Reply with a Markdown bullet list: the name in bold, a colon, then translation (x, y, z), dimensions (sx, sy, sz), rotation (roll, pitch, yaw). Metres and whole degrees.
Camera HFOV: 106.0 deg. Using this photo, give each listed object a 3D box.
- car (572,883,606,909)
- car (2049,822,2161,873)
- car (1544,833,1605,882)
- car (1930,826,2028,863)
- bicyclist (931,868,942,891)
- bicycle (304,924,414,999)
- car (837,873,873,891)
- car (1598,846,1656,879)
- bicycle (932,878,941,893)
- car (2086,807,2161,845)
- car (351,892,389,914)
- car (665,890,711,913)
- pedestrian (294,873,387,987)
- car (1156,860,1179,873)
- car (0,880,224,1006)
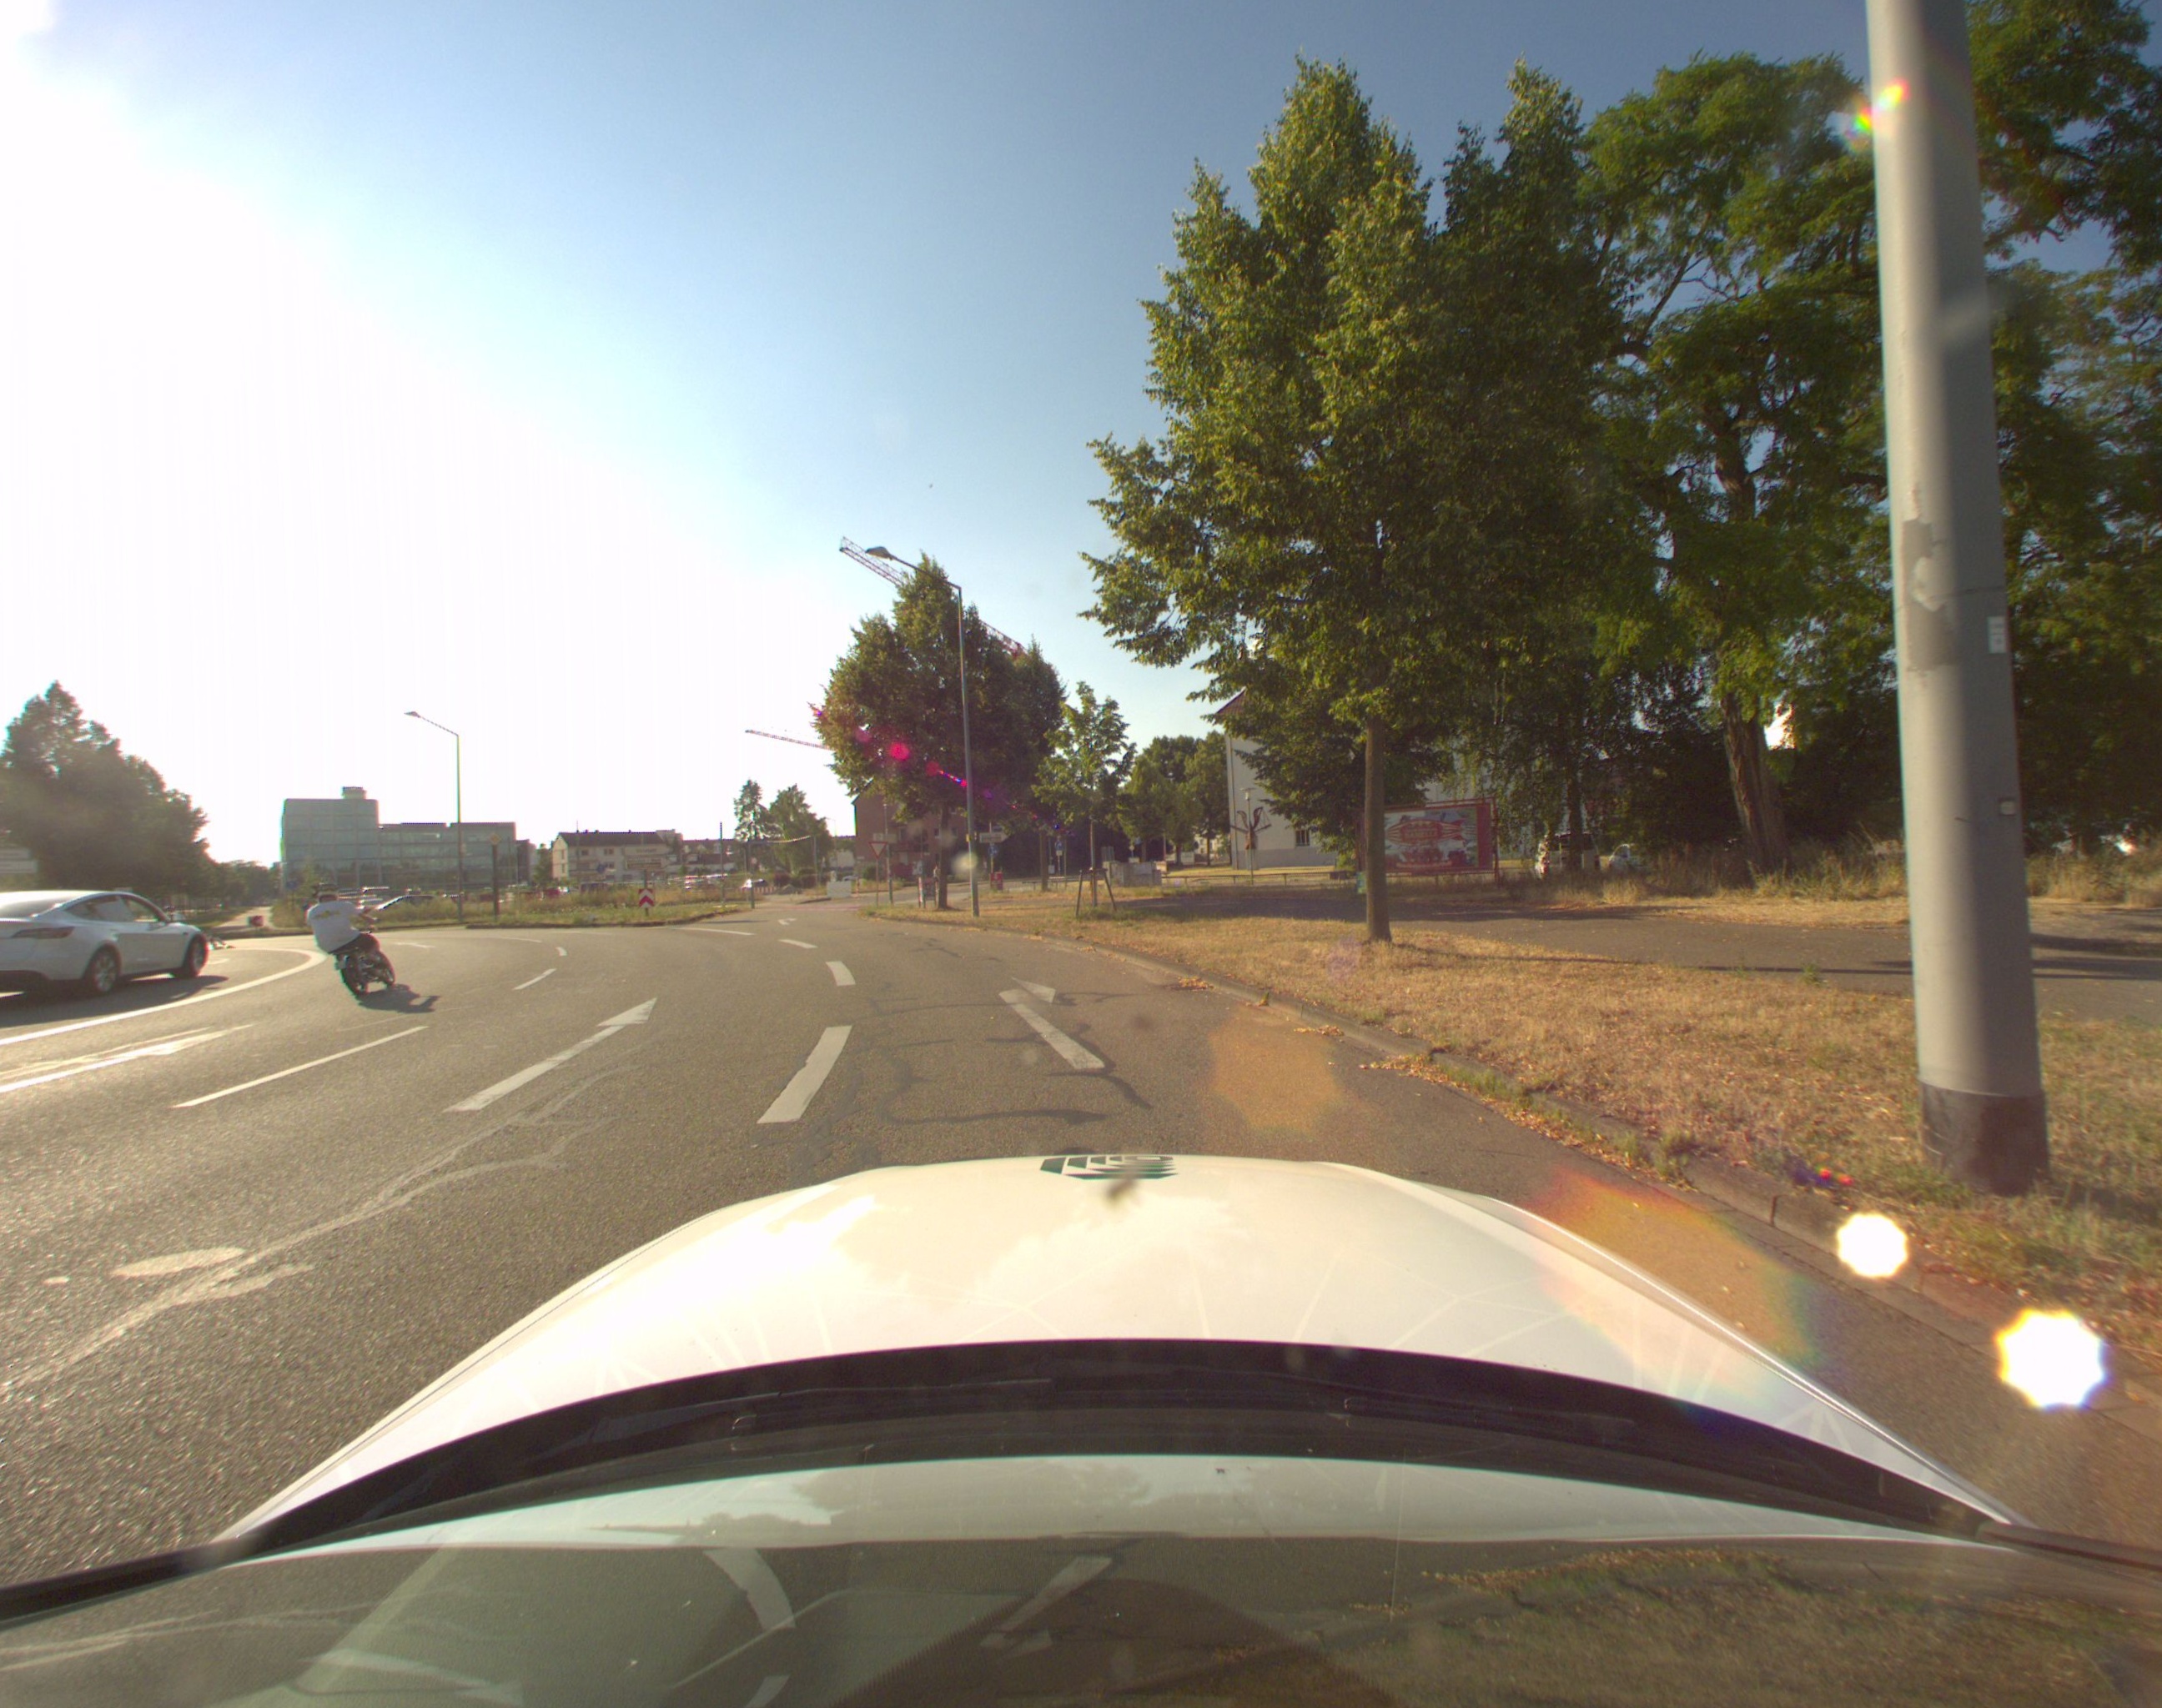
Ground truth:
- **car**: translation (-39.387, 3.358, 65.276), dimensions (1.930, 1.854, 3.965), rotation (-2, 0, -27)
- **car**: translation (31.618, -0.205, 24.699), dimensions (1.586, 1.402, 3.993), rotation (-3, -1, 30)
- **car**: translation (18.273, 0.119, 30.290), dimensions (1.754, 1.618, 3.993), rotation (-3, -1, 30)
- **car**: translation (37.960, -0.399, 34.555), dimensions (1.586, 1.402, 3.993), rotation (-3, -1, 30)
- **bicyclist**: translation (-9.890, 1.751, 55.734), dimensions (0.658, 1.562, 0.891), rotation (-2, -1, -11)
- **bicycle**: translation (-10.459, 1.525, 11.873), dimensions (0.479, 0.876, 1.844), rotation (-2, -1, -18)
- **car**: translation (-27.019, 3.324, 97.403), dimensions (3.776, 2.014, 1.680), rotation (-3, -1, 20)
- **car**: translation (21.690, 0.302, 32.454), dimensions (1.586, 1.181, 3.993), rotation (-3, -1, 30)
- **bicycle**: translation (-9.850, 2.141, 55.585), dimensions (0.597, 0.963, 2.098), rotation (-2, -1, -10)
- **car**: translation (42.300, -1.099, 32.364), dimensions (1.586, 1.402, 3.993), rotation (-3, -1, 30)
- **car**: translation (-72.312, 4.970, 82.829), dimensions (3.948, 2.013, 2.013), rotation (-3, 0, 35)
- **car**: translation (-37.445, 4.490, 77.630), dimensions (3.776, 2.014, 1.680), rotation (-3, -1, 20)
- **pedestrian**: translation (-10.525, 1.045, 11.603), dimensions (0.658, 1.519, 0.848), rotation (-2, 0, -20)
- **car**: translation (10.734, 1.504, 100.957), dimensions (1.568, 1.442, 3.574), rotation (-3, -1, 29)
- **car**: translation (-15.909, 1.285, 12.917), dimensions (1.744, 1.599, 4.635), rotation (-1, 0, -27)
